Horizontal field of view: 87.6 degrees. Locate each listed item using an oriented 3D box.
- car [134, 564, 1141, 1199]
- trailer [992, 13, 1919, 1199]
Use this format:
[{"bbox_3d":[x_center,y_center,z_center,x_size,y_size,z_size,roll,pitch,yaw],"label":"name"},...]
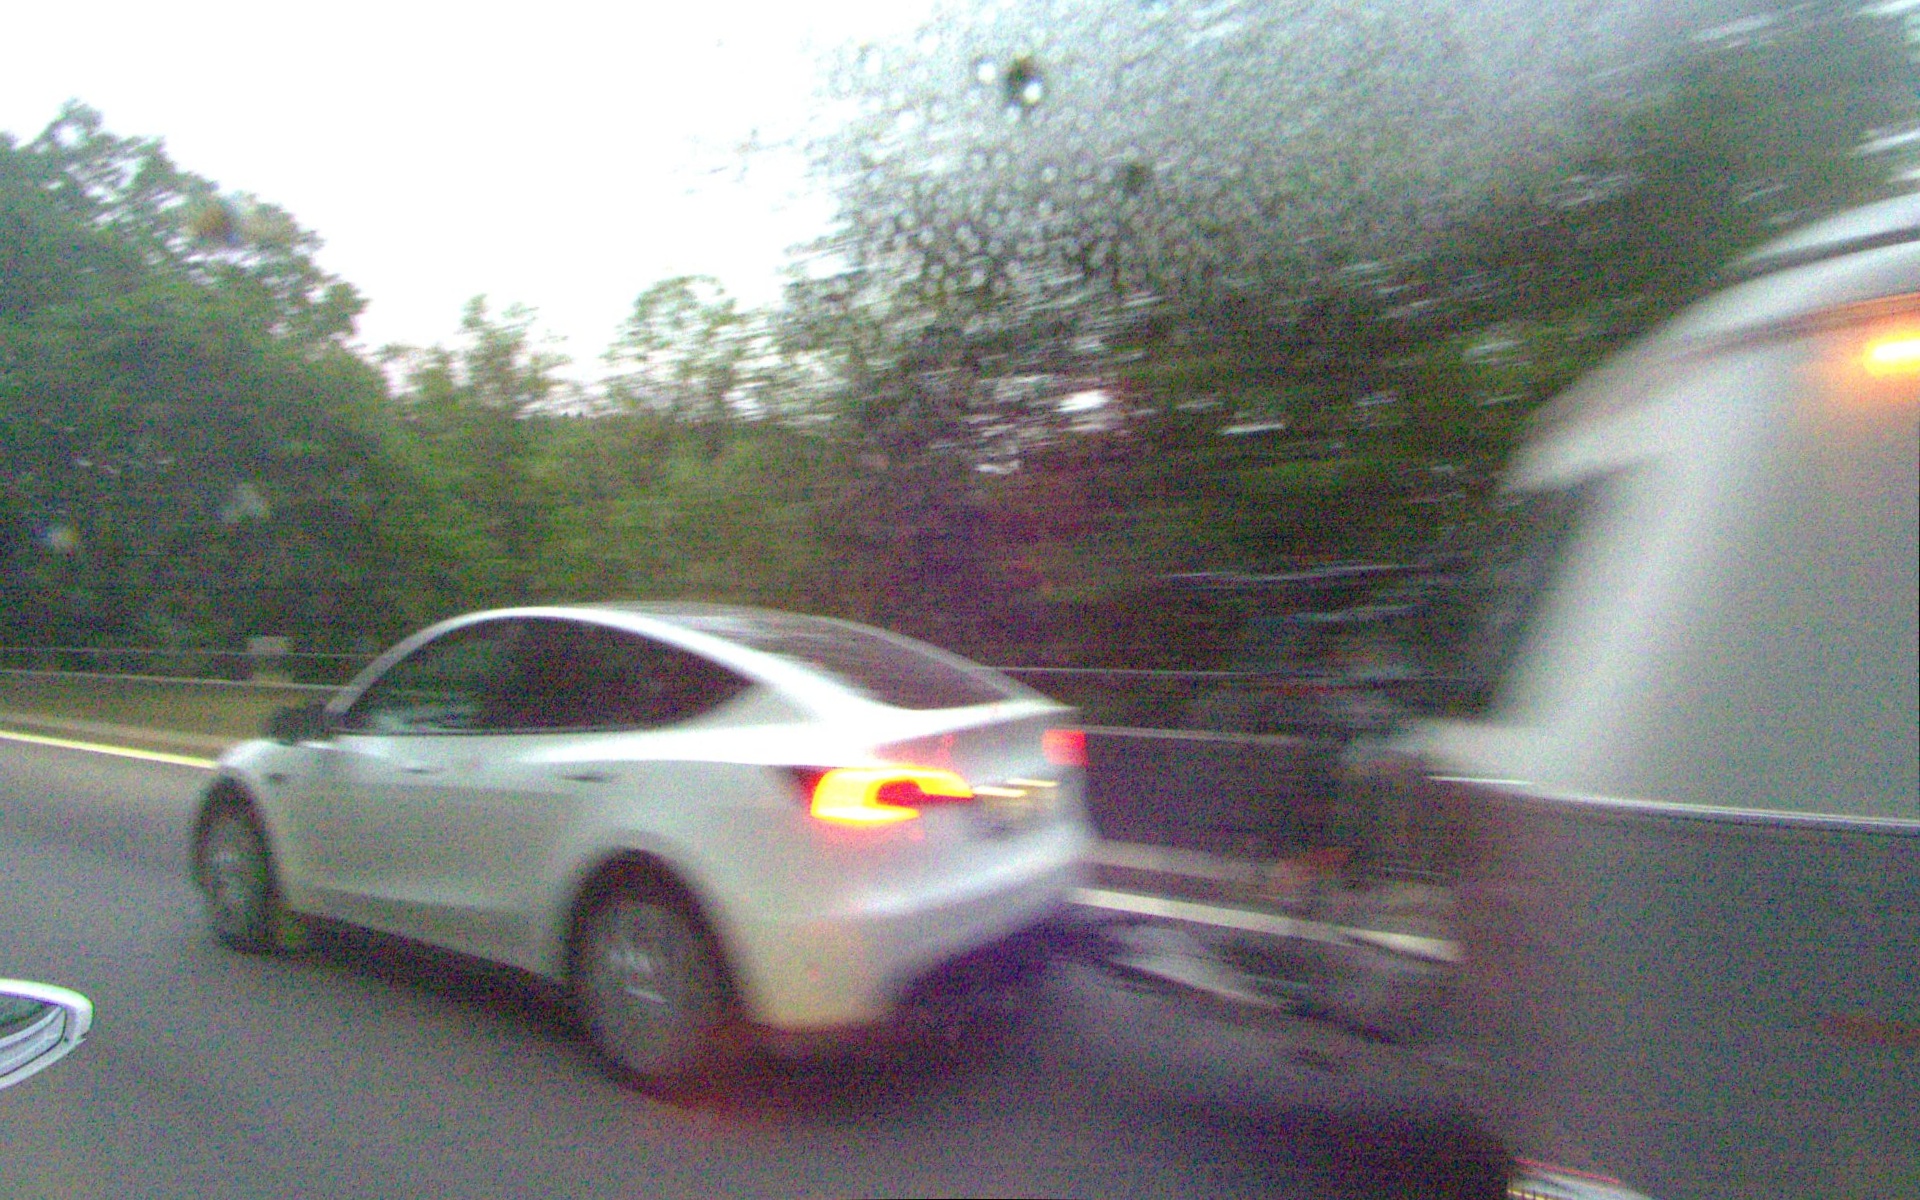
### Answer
[{"bbox_3d":[-1.766,0.807,4.759,4.797,1.635,1.990,-1,-3,33],"label":"car"},{"bbox_3d":[3.085,0.340,1.638,5.856,2.404,2.051,-1,-3,34],"label":"trailer"}]
